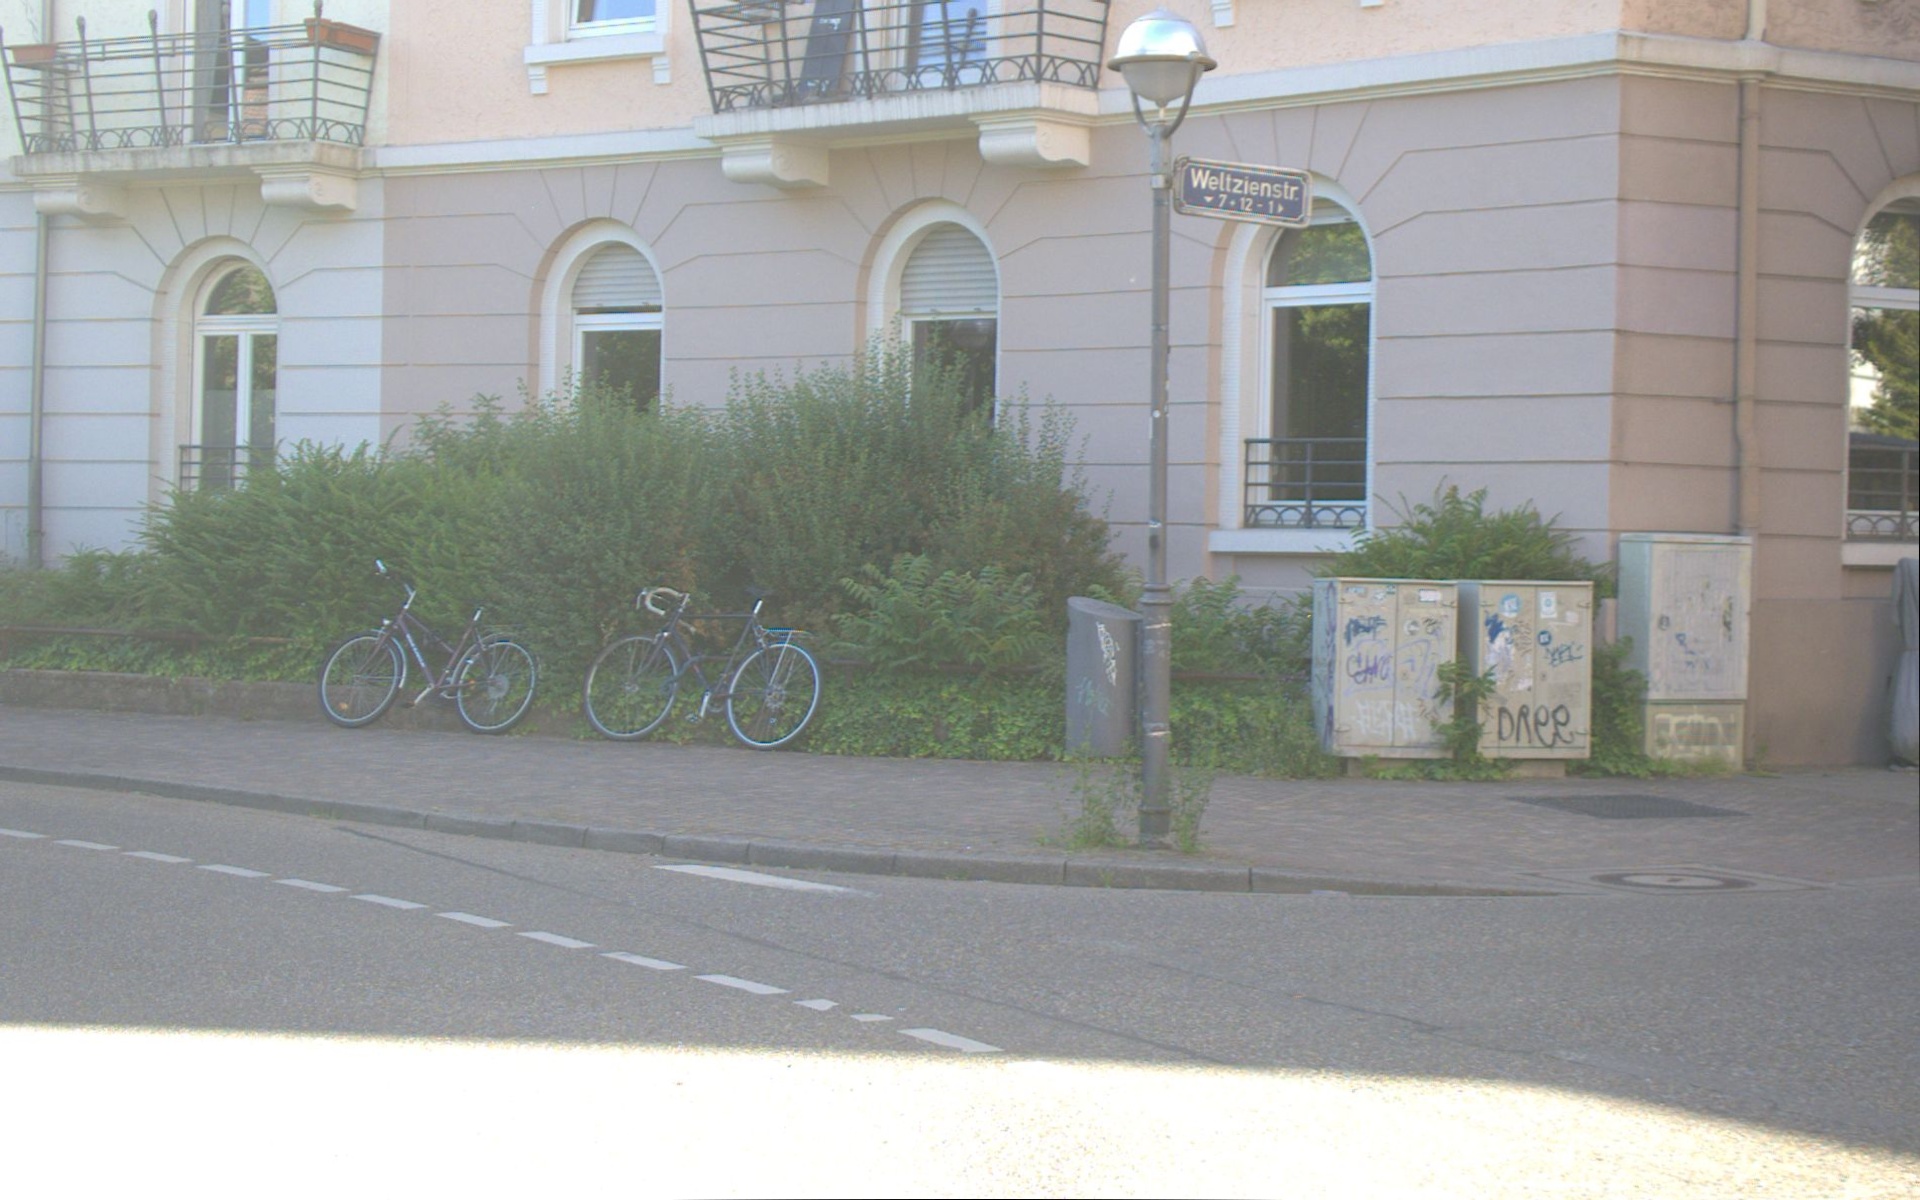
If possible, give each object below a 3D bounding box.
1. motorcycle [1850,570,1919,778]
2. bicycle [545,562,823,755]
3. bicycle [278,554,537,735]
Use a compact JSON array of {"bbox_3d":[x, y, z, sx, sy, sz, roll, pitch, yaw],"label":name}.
[{"bbox_3d":[6.656,0.454,21.164,2.146,1.216,0.943,0,3,-26],"label":"motorcycle"},{"bbox_3d":[-1.676,0.333,20.750,1.684,1.084,0.502,2,3,30],"label":"bicycle"},{"bbox_3d":[-3.533,0.267,21.945,1.684,1.084,0.502,2,3,30],"label":"bicycle"}]
